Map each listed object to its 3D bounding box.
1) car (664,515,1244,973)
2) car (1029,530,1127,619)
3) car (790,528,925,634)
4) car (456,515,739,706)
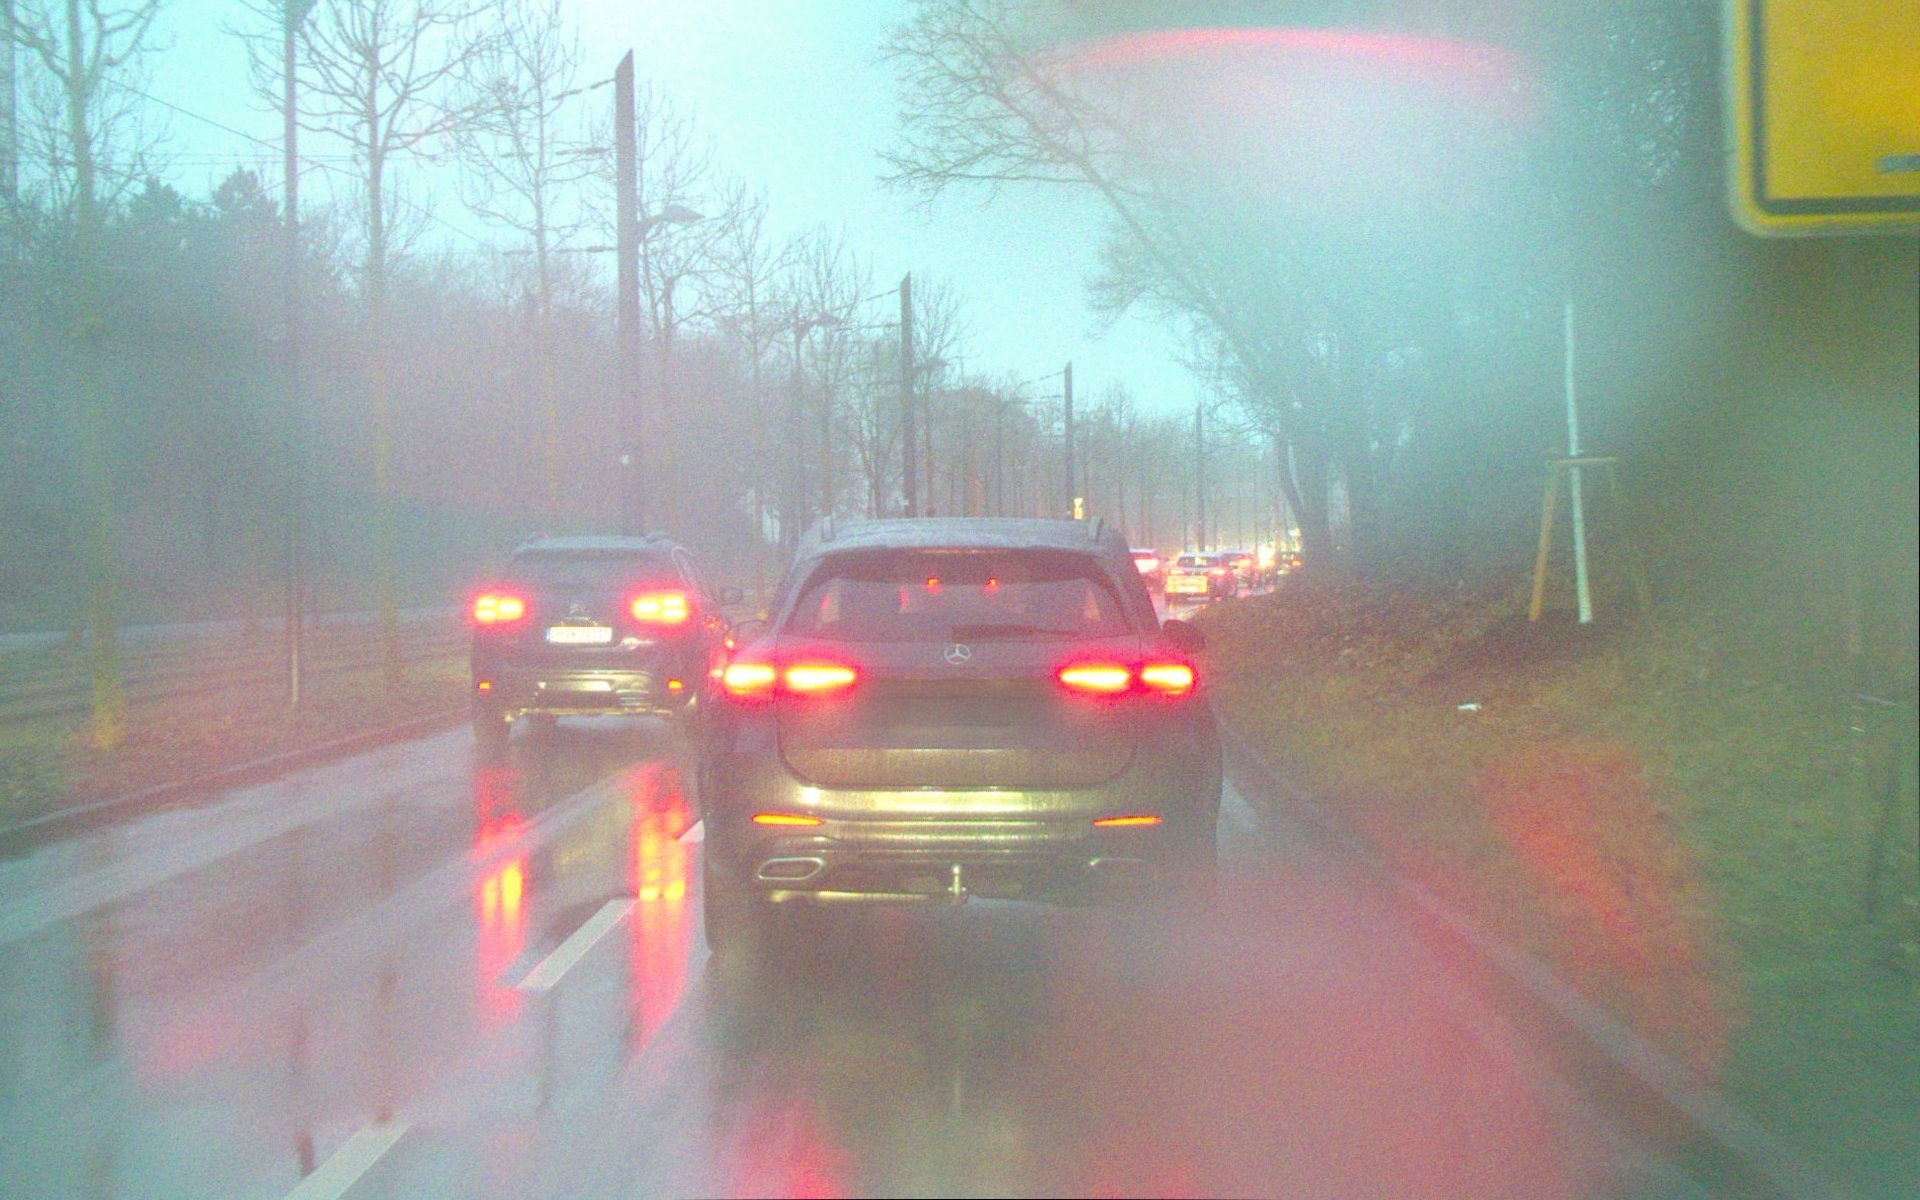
[{"bbox_3d":[-0.028,0.453,13.861,1.998,1.578,4.000,0,1,0],"label":"car"},{"bbox_3d":[2.170,-0.479,62.942,1.709,1.552,3.996,-1,1,2],"label":"car"},{"bbox_3d":[-1.584,-0.332,54.554,1.880,1.588,4.000,-1,1,2],"label":"car"},{"bbox_3d":[-2.948,0.031,28.757,1.880,1.454,4.000,-1,1,1],"label":"car"}]
